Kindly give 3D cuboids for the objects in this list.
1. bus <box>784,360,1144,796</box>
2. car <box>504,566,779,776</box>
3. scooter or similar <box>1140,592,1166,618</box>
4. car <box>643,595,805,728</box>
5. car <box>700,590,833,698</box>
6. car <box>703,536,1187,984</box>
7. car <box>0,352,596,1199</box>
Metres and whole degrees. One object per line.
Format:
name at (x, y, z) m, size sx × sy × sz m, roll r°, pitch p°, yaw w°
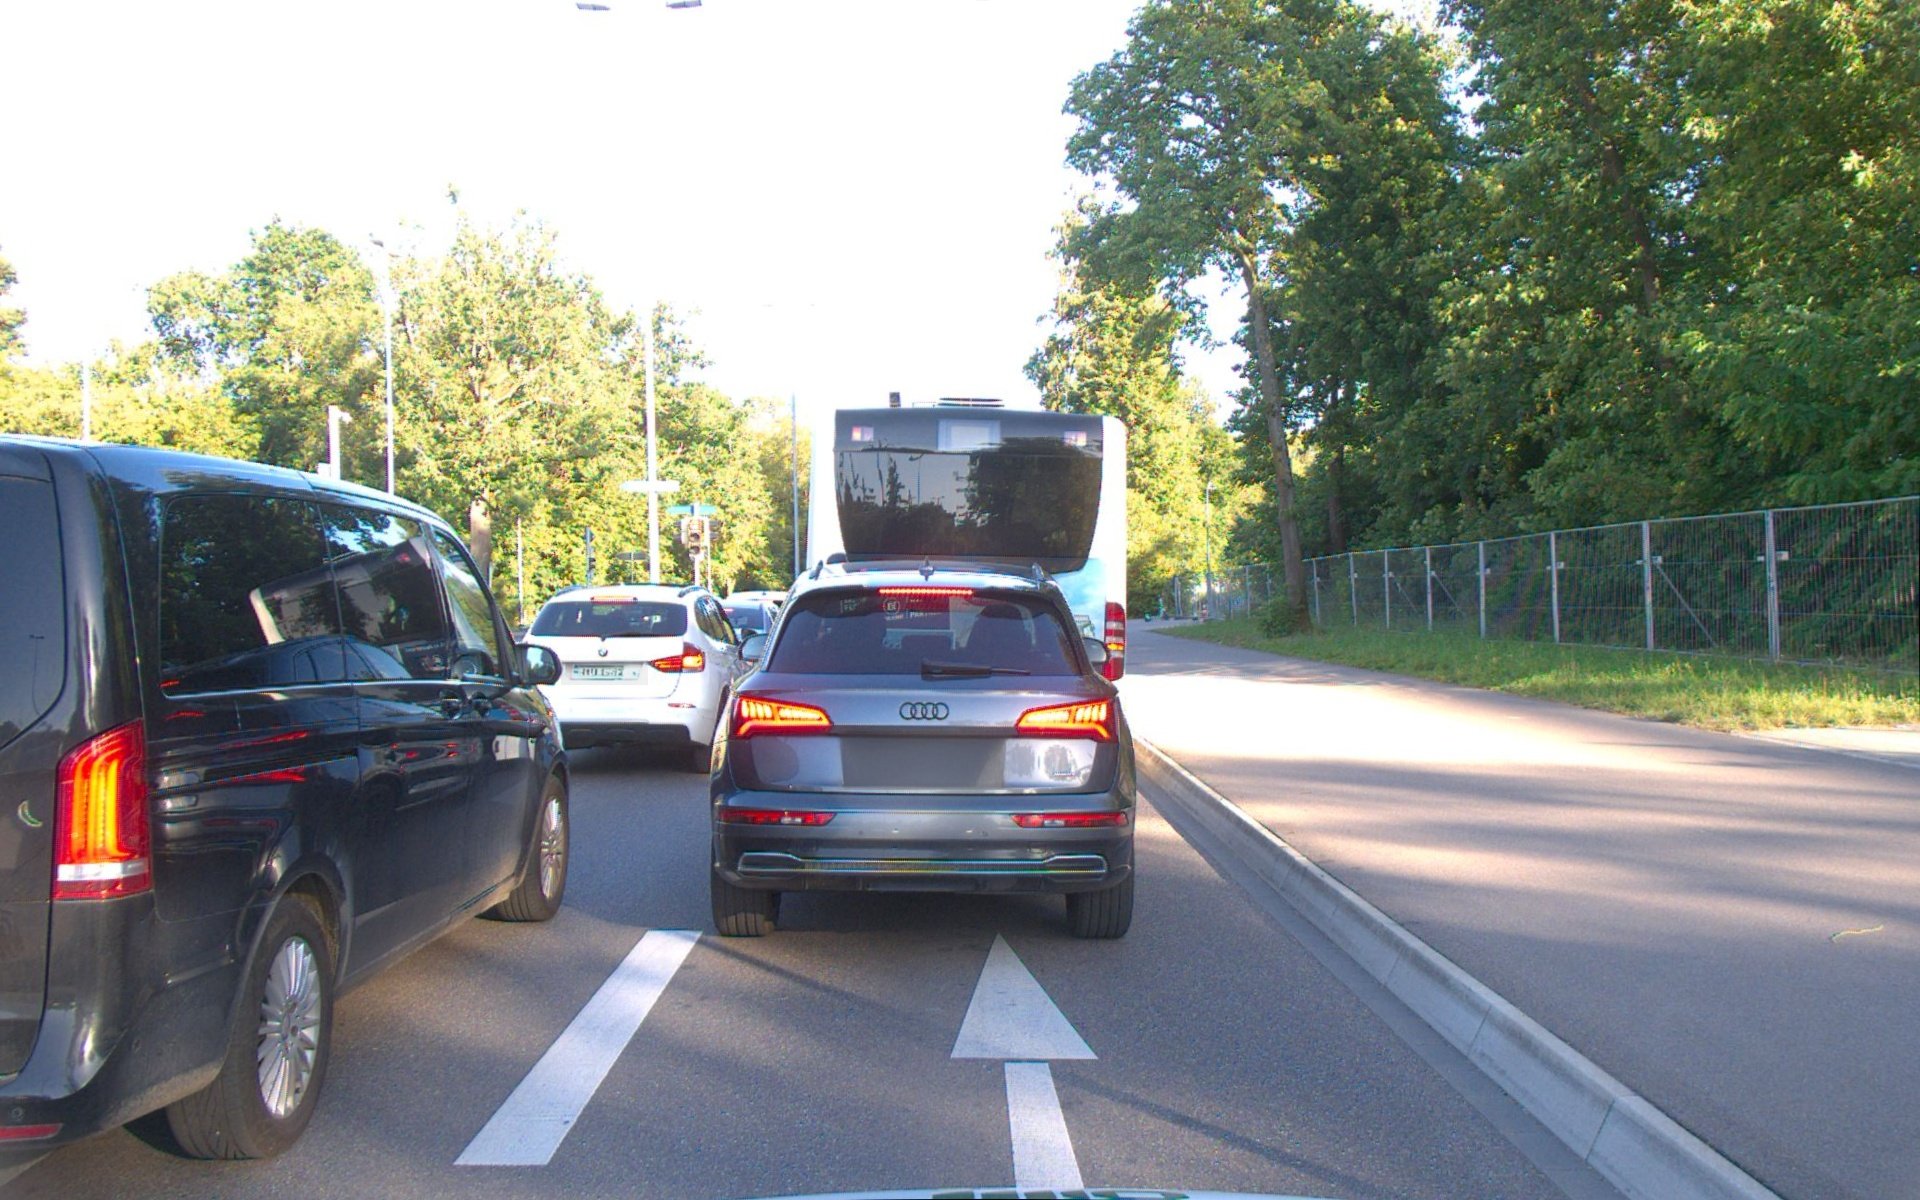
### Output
bus at (0.053, -0.200, 15.250) m, size 2.623 × 3.196 × 5.882 m, roll 1°, pitch 1°, yaw 0°
car at (-2.722, 0.608, 15.122) m, size 1.683 × 1.608 × 4.432 m, roll 1°, pitch -2°, yaw -1°
scooter or similar at (9.093, 0.253, 77.962) m, size 1.158 × 1.195 × 0.659 m, roll 1°, pitch 0°, yaw 11°
car at (-2.922, 0.708, 21.242) m, size 1.750 × 1.469 × 4.274 m, roll 1°, pitch 1°, yaw -4°
car at (-3.140, 0.671, 27.533) m, size 1.771 × 1.599 × 4.000 m, roll 1°, pitch 1°, yaw -1°
car at (-0.084, 0.589, 8.344) m, size 1.830 × 1.693 × 4.000 m, roll 1°, pitch 1°, yaw -1°
car at (-2.678, 0.420, 5.689) m, size 1.869 × 1.888 × 4.872 m, roll 1°, pitch 0°, yaw -2°
